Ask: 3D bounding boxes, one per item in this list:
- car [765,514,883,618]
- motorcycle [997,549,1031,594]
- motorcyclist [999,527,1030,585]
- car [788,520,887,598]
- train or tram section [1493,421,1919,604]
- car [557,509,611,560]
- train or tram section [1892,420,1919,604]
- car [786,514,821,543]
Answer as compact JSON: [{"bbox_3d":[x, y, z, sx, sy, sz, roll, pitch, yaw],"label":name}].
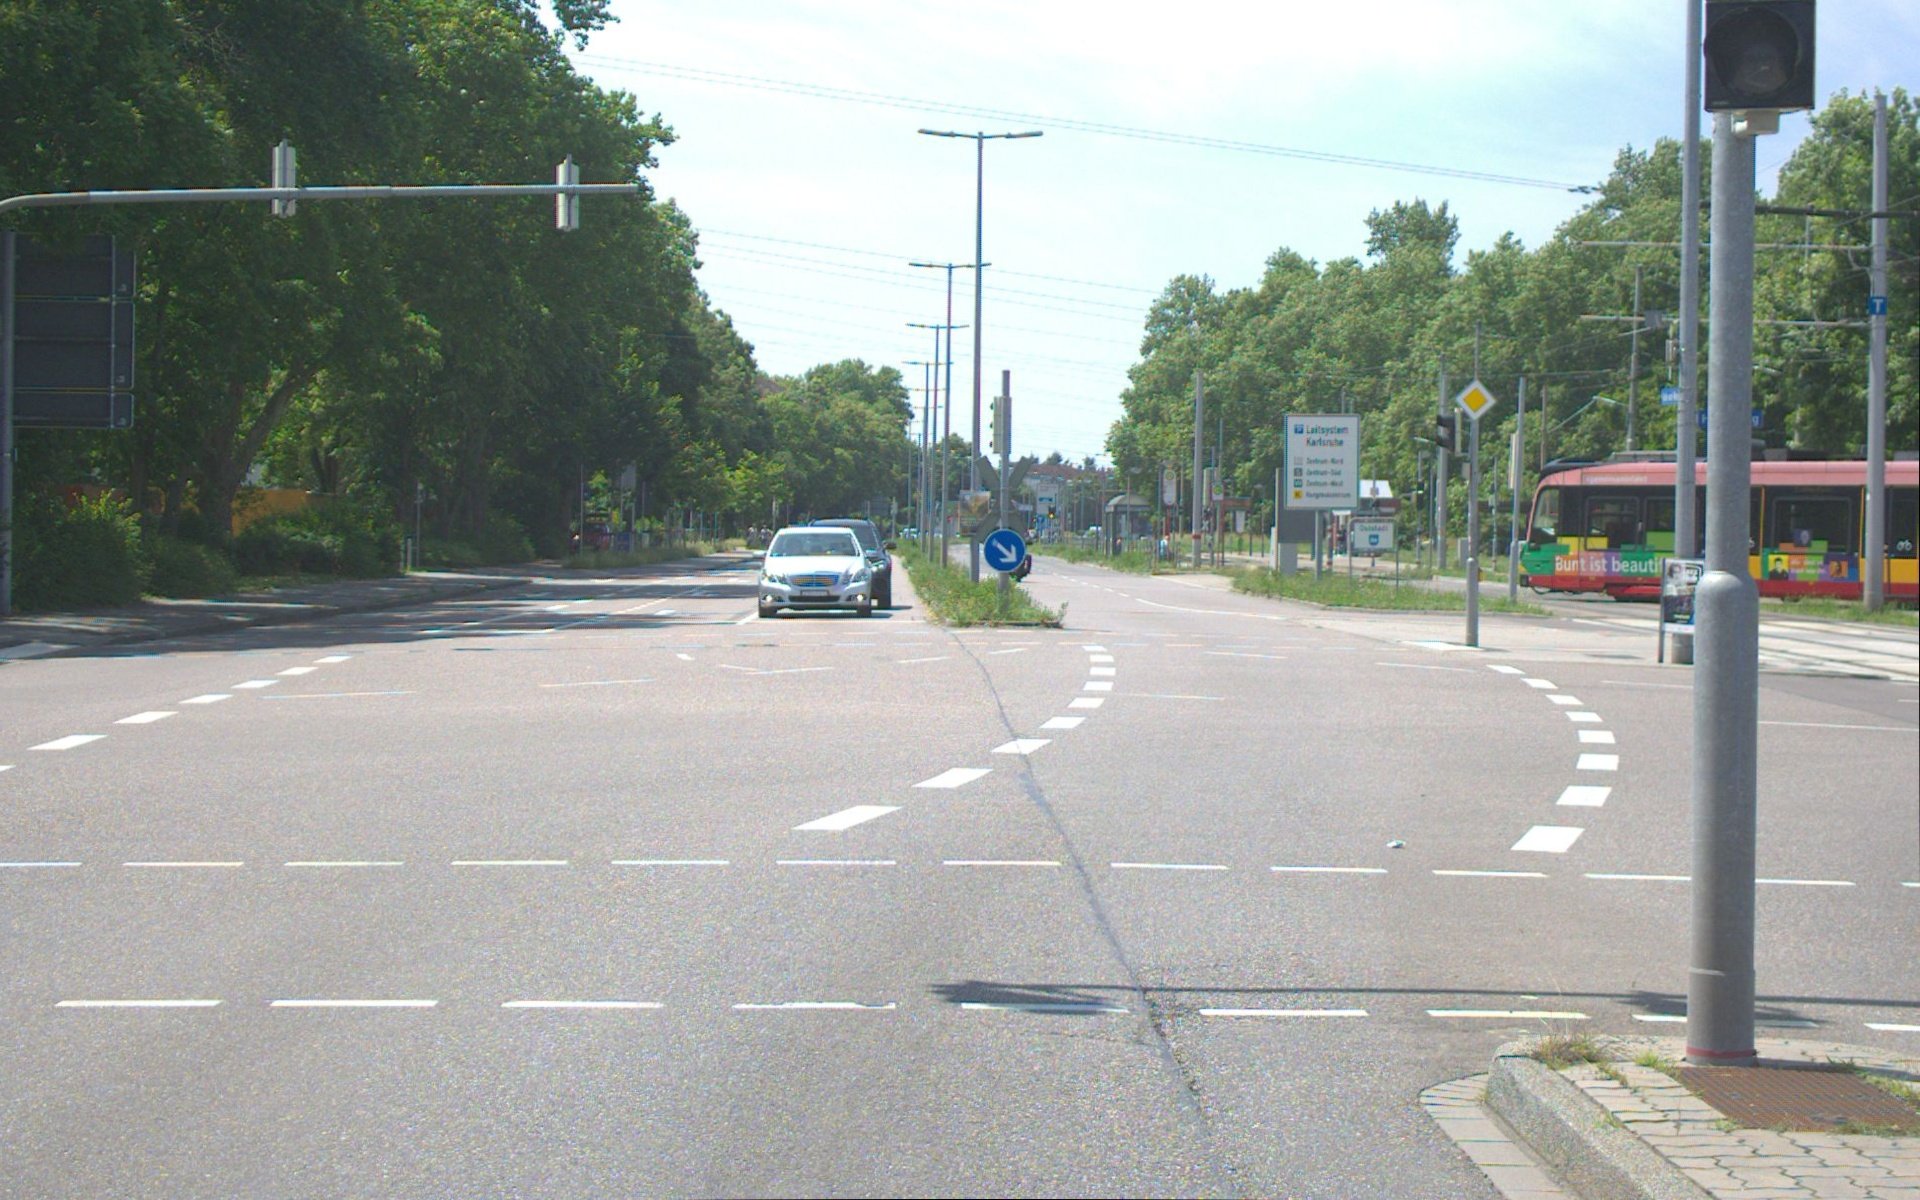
[{"bbox_3d":[-2.203,-0.589,56.389,1.784,1.623,3.865,1,1,0],"label":"car"},{"bbox_3d":[1.573,-0.841,99.782,0.847,1.251,2.449,2,1,-1],"label":"motorcycle"},{"bbox_3d":[1.578,-1.291,99.739,0.790,1.637,1.211,2,1,-1],"label":"motorcyclist"},{"bbox_3d":[-2.228,-0.779,63.362,1.710,1.361,3.865,1,1,0],"label":"car"},{"bbox_3d":[18.107,-1.869,78.791,2.915,3.799,13.071,3,-2,-38],"label":"train or tram section"},{"bbox_3d":[-16.059,-2.810,147.084,1.993,2.007,4.001,4,1,-4],"label":"car"},{"bbox_3d":[26.576,-1.716,71.702,13.429,3.799,2.920,1,-2,23],"label":"train or tram section"},{"bbox_3d":[-8.252,-3.793,181.125,1.671,1.485,3.711,1,1,0],"label":"car"}]
